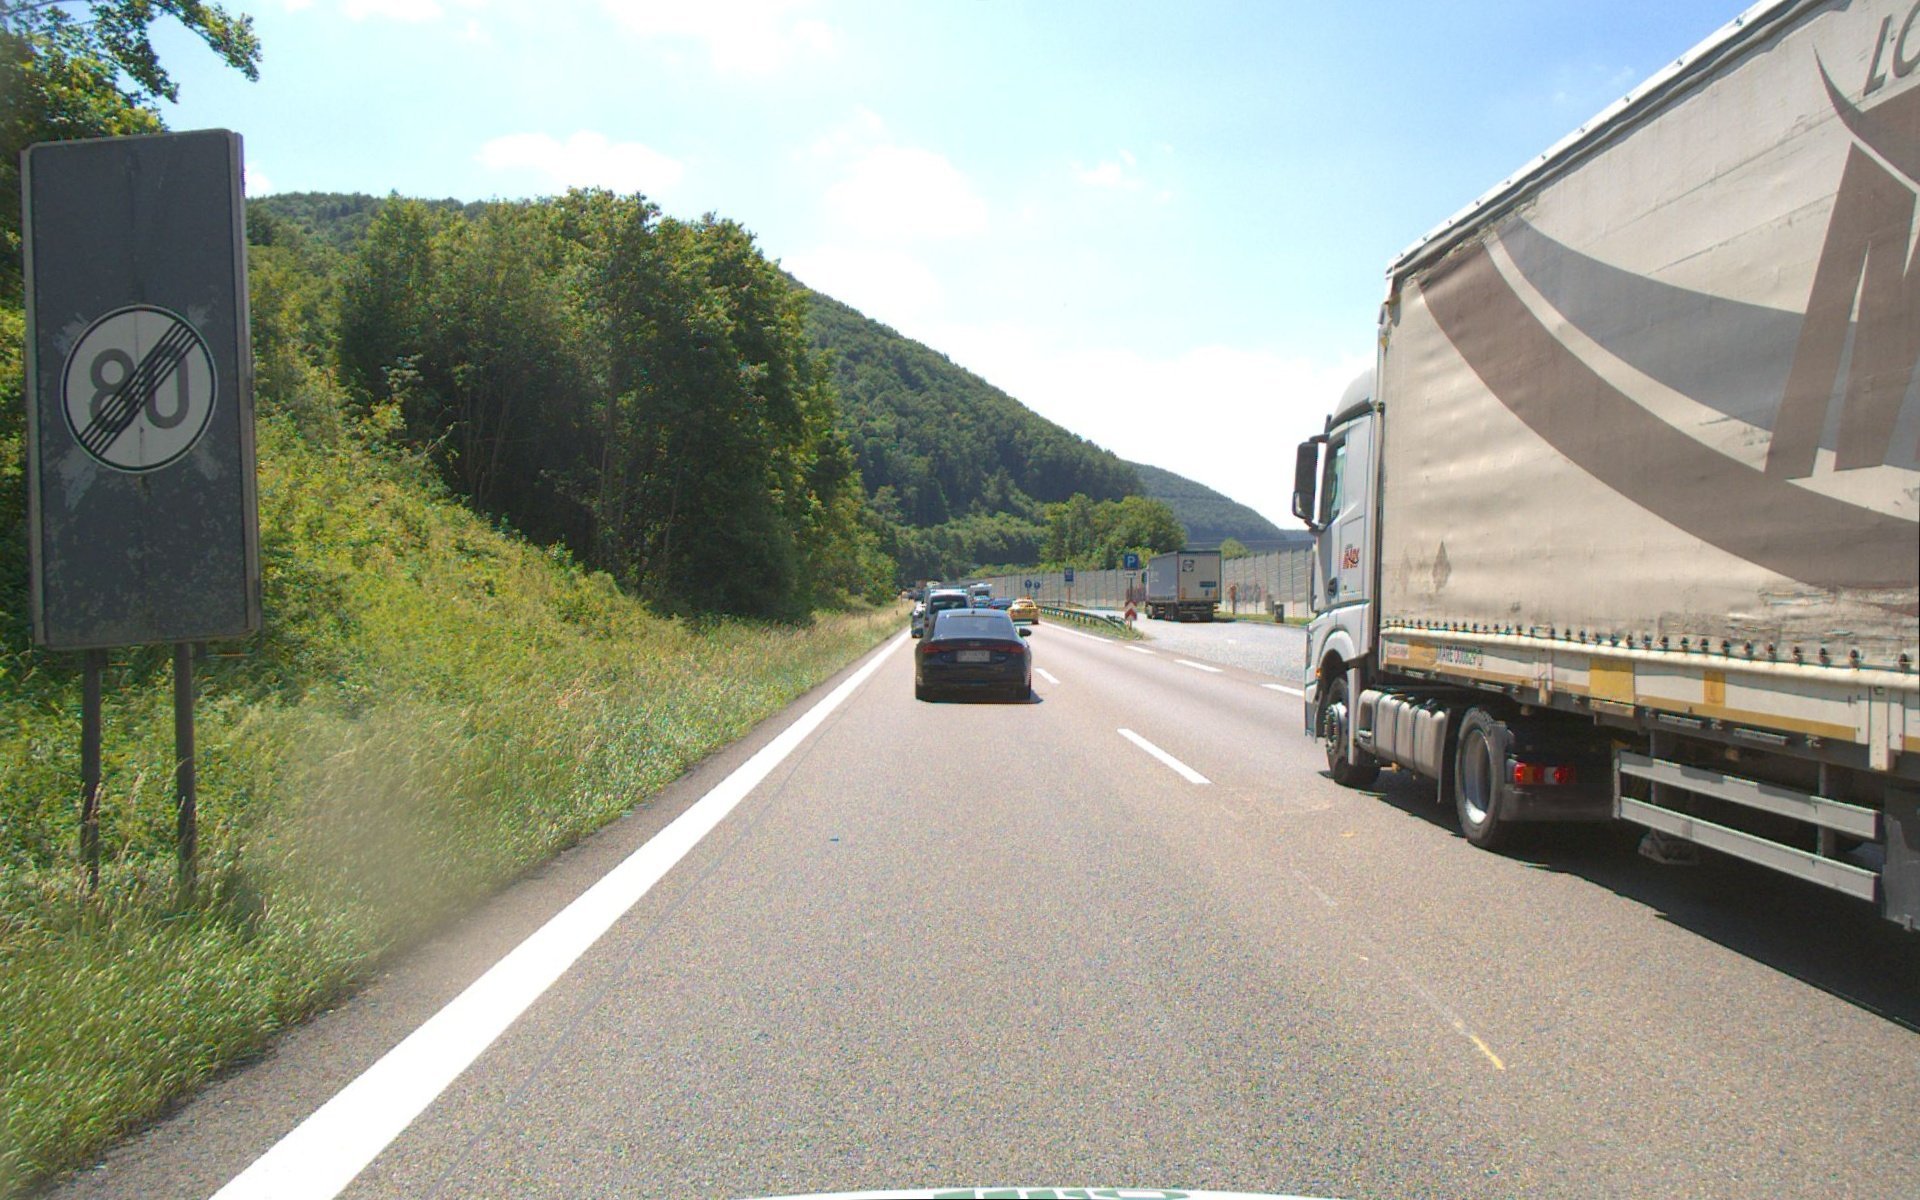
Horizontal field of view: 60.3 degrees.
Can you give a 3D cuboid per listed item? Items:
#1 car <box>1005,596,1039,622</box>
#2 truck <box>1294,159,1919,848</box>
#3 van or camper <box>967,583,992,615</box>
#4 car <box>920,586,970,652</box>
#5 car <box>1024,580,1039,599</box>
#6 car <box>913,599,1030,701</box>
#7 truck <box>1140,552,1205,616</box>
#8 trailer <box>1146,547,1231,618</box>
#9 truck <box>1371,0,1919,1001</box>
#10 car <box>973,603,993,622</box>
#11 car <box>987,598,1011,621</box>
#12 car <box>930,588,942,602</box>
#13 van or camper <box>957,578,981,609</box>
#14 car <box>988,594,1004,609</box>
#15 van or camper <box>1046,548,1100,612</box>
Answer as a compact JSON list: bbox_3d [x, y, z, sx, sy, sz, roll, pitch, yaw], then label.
[{"bbox_3d":[3.730,0.554,99.631,1.840,1.525,3.999,1,0,0],"label":"car"},{"bbox_3d":[4.585,-0.547,12.935,2.664,4.139,5.753,1,-1,-1],"label":"truck"},{"bbox_3d":[2.038,-0.092,171.501,2.380,3.210,5.202,2,-1,-1],"label":"van or camper"},{"bbox_3d":[-0.503,0.621,54.171,1.490,2.002,3.513,3,-1,-1],"label":"car"},{"bbox_3d":[8.147,-1.193,188.448,1.544,2.049,3.427,0,0,0],"label":"car"},{"bbox_3d":[0.165,0.757,26.956,1.775,1.541,3.514,0,0,0],"label":"car"},{"bbox_3d":[13.533,-0.996,105.530,3.342,3.968,5.386,1,0,-1],"label":"truck"},{"bbox_3d":[13.613,-0.983,99.473,3.342,3.968,11.148,1,0,-1],"label":"trailer"},{"bbox_3d":[4.692,-0.647,6.133,2.670,4.139,13.737,1,-1,-1],"label":"truck"},{"bbox_3d":[1.932,1.056,138.575,1.499,1.552,3.596,2,-1,-1],"label":"car"},{"bbox_3d":[2.775,0.674,117.743,1.499,1.552,3.596,2,-1,-1],"label":"car"},{"bbox_3d":[-3.558,-0.782,245.397,1.653,2.049,3.999,1,0,-1],"label":"car"},{"bbox_3d":[1.156,-0.830,219.100,2.739,3.975,6.163,2,-1,-3],"label":"van or camper"},{"bbox_3d":[4.870,0.217,226.439,1.953,2.049,3.998,1,0,-2],"label":"car"},{"bbox_3d":[7.395,-1.255,108.836,2.739,3.909,6.163,2,-1,-3],"label":"van or camper"}]
